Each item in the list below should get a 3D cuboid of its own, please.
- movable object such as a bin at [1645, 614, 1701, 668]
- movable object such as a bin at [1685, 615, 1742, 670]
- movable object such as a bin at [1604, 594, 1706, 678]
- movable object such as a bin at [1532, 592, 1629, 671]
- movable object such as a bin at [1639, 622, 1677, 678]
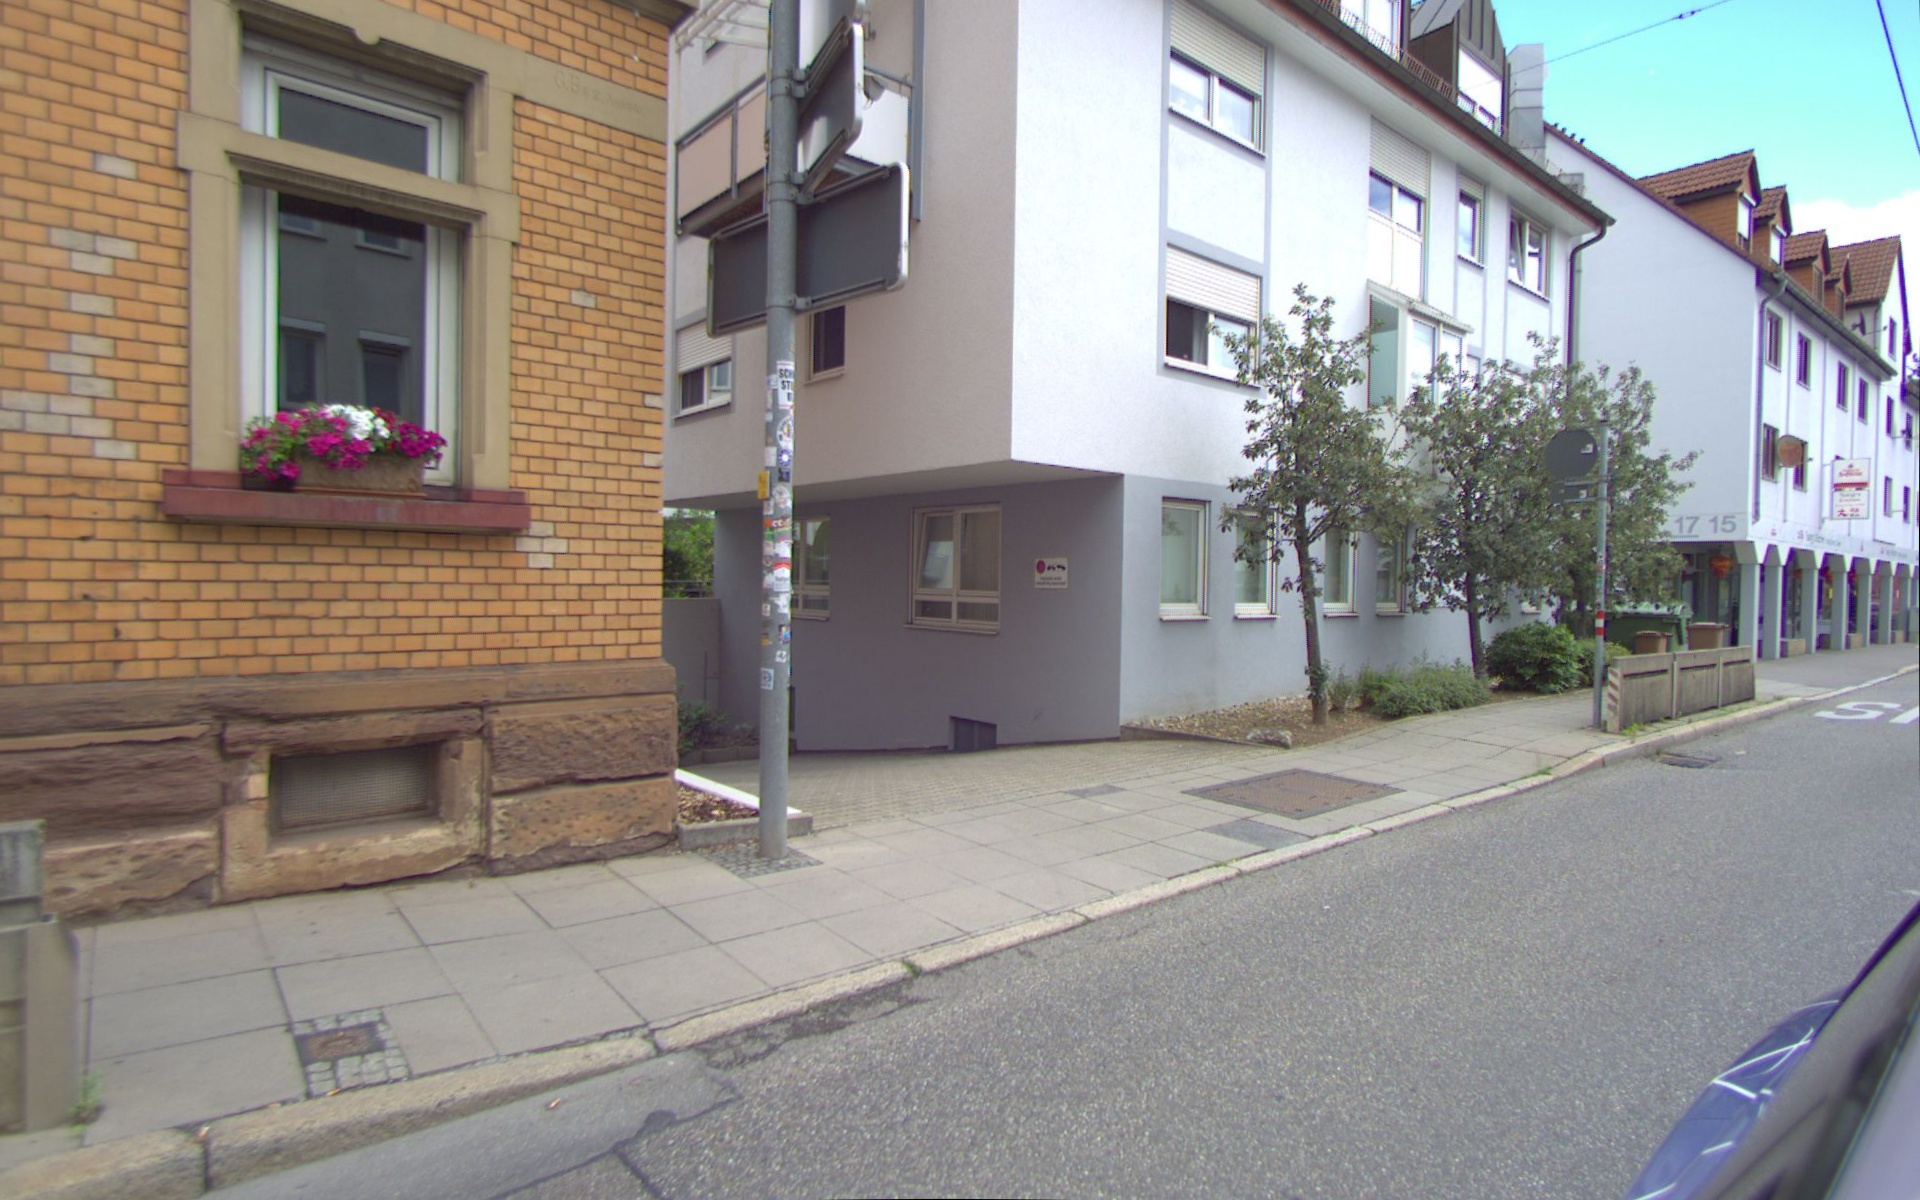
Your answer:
[{"bbox_3d":[15.230,0.861,21.626,0.953,1.092,0.700,1,1,-36],"label":"movable object such as a bin"},{"bbox_3d":[15.674,0.864,21.043,0.953,1.080,0.685,1,1,-36],"label":"movable object such as a bin"},{"bbox_3d":[12.737,0.626,18.554,1.141,1.435,1.270,1,1,-40],"label":"movable object such as a bin"},{"bbox_3d":[12.172,0.586,19.854,1.284,1.453,1.270,0,1,-40],"label":"movable object such as a bin"},{"bbox_3d":[12.295,0.872,17.828,0.457,0.932,0.431,1,1,-40],"label":"movable object such as a bin"}]
